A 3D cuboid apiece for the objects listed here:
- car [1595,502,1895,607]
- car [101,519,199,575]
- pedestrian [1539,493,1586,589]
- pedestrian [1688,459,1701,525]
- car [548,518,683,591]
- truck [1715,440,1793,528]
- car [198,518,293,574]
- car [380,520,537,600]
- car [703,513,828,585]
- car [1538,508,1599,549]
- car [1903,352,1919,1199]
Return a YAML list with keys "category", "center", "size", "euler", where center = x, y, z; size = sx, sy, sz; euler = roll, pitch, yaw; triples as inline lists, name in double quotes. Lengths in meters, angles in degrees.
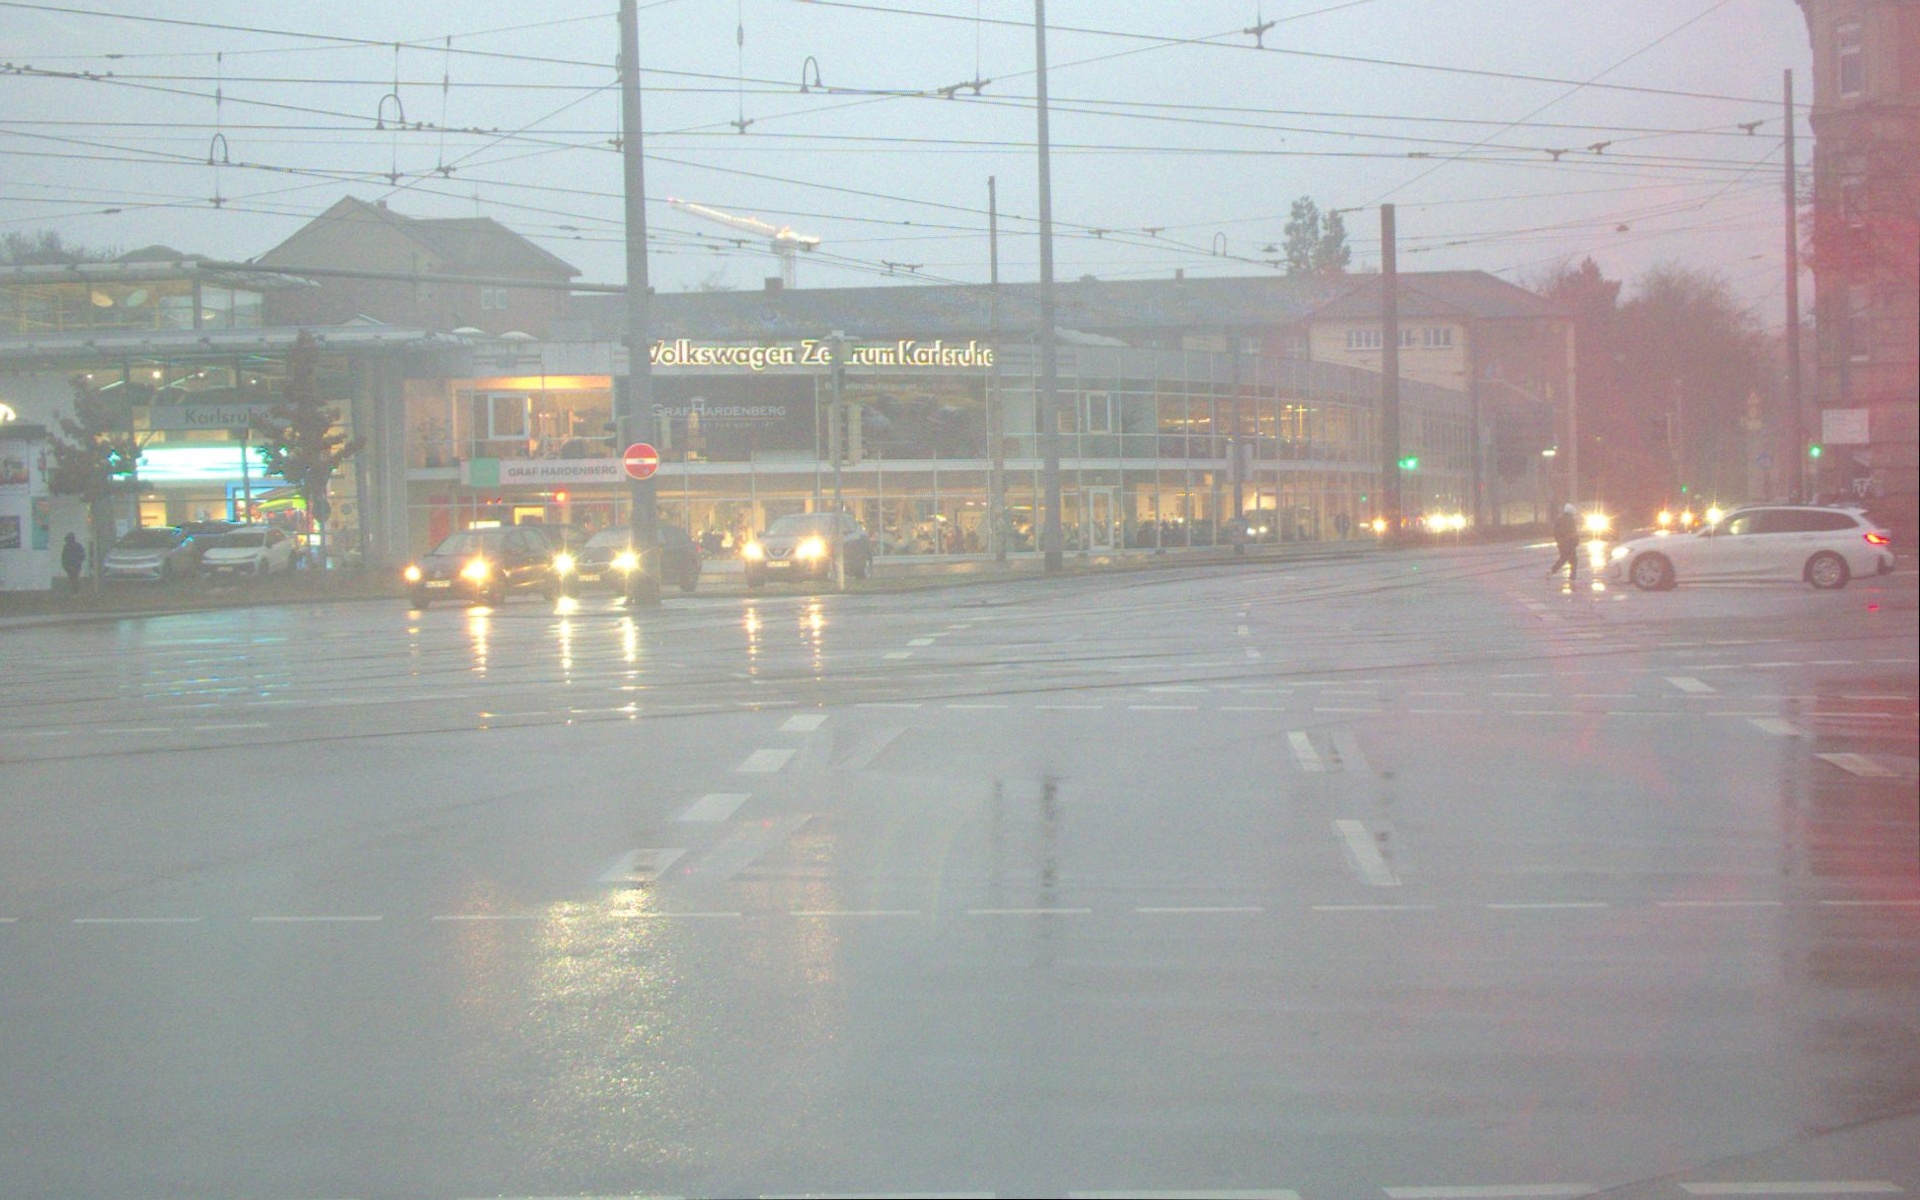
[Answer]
- category: "car"
  center: [13.189, -0.764, 57.708]
  size: [4.802, 1.651, 1.739]
  euler: [-1, 1, 16]
- category: "car"
  center: [-24.260, -1.609, 103.047]
  size: [1.862, 1.596, 4.000]
  euler: [-1, 1, 2]
- category: "pedestrian"
  center: [11.620, -1.142, 66.336]
  size: [0.591, 1.834, 0.619]
  euler: [-2, 1, -34]
- category: "pedestrian"
  center: [22.382, -3.281, 104.756]
  size: [0.344, 2.007, 0.418]
  euler: [-1, 1, 15]
- category: "car"
  center: [-7.178, -0.973, 71.947]
  size: [1.813, 1.441, 3.999]
  euler: [-1, 1, 9]
- category: "truck"
  center: [25.107, -3.647, 108.624]
  size: [1.995, 2.682, 5.111]
  euler: [-1, 1, 17]
- category: "car"
  center: [-21.353, -1.631, 102.806]
  size: [1.862, 1.596, 4.000]
  euler: [-1, 1, 2]
- category: "car"
  center: [-9.479, -0.784, 65.285]
  size: [1.813, 1.441, 3.999]
  euler: [-1, 1, 9]
- category: "car"
  center: [-4.090, -1.094, 72.780]
  size: [1.813, 1.441, 3.999]
  euler: [-1, 1, 9]
- category: "car"
  center: [24.591, -2.888, 138.865]
  size: [1.864, 1.596, 3.783]
  euler: [-1, 1, 18]
- category: "car"
  center: [2.551, 0.512, 4.049]
  size: [1.778, 1.794, 4.425]
  euler: [0, 2, 2]
